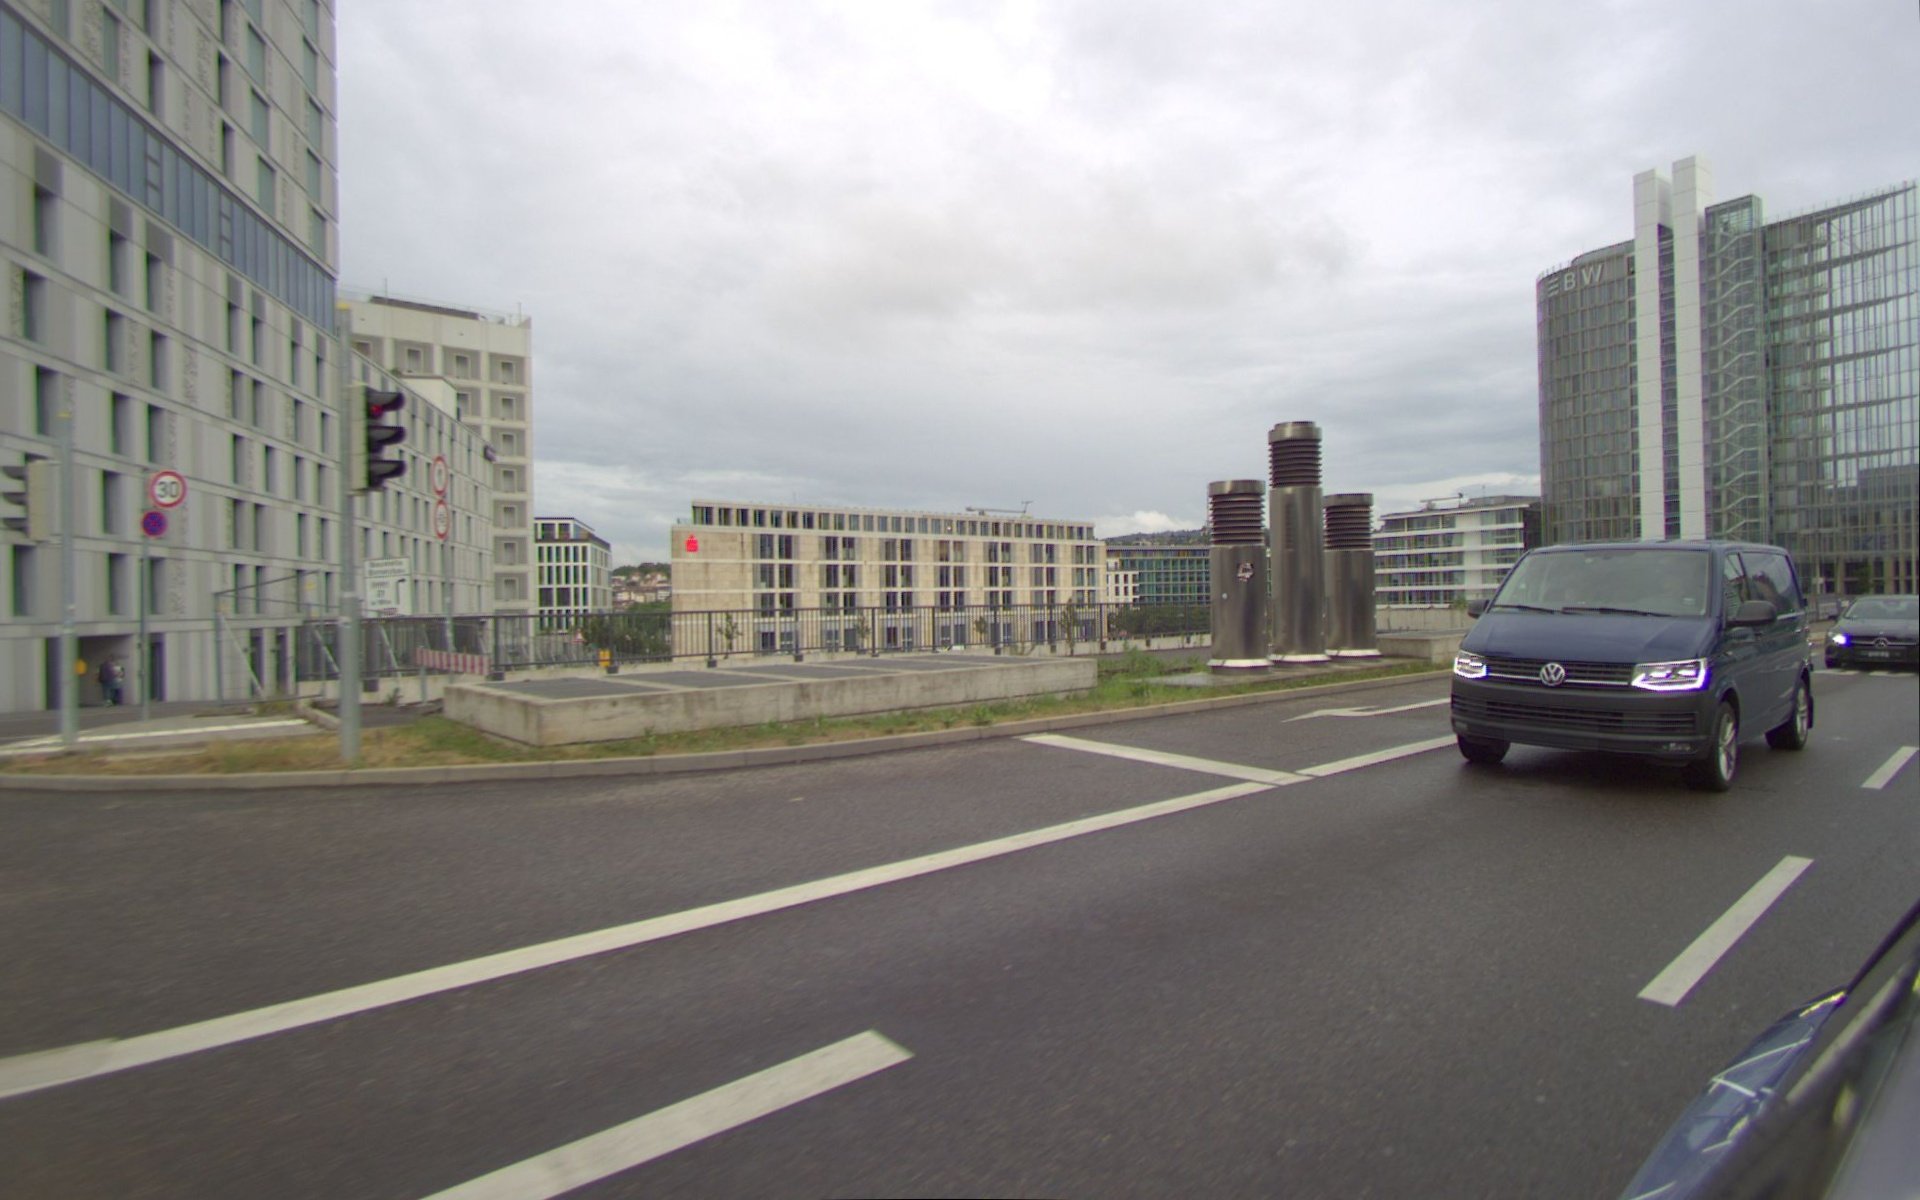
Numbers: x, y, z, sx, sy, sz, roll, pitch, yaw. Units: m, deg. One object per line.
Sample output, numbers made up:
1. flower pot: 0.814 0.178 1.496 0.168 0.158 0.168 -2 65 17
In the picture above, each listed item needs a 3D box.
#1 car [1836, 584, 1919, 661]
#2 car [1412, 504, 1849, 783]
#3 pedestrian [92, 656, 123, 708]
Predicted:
1. car: 18.606 0.408 19.767 4.083 1.393 1.726 0 0 -41
2. car: 6.334 0.305 9.301 4.952 1.906 2.036 0 -1 -40
3. pedestrian: -29.737 2.850 35.324 0.786 1.723 0.799 -2 1 -40
